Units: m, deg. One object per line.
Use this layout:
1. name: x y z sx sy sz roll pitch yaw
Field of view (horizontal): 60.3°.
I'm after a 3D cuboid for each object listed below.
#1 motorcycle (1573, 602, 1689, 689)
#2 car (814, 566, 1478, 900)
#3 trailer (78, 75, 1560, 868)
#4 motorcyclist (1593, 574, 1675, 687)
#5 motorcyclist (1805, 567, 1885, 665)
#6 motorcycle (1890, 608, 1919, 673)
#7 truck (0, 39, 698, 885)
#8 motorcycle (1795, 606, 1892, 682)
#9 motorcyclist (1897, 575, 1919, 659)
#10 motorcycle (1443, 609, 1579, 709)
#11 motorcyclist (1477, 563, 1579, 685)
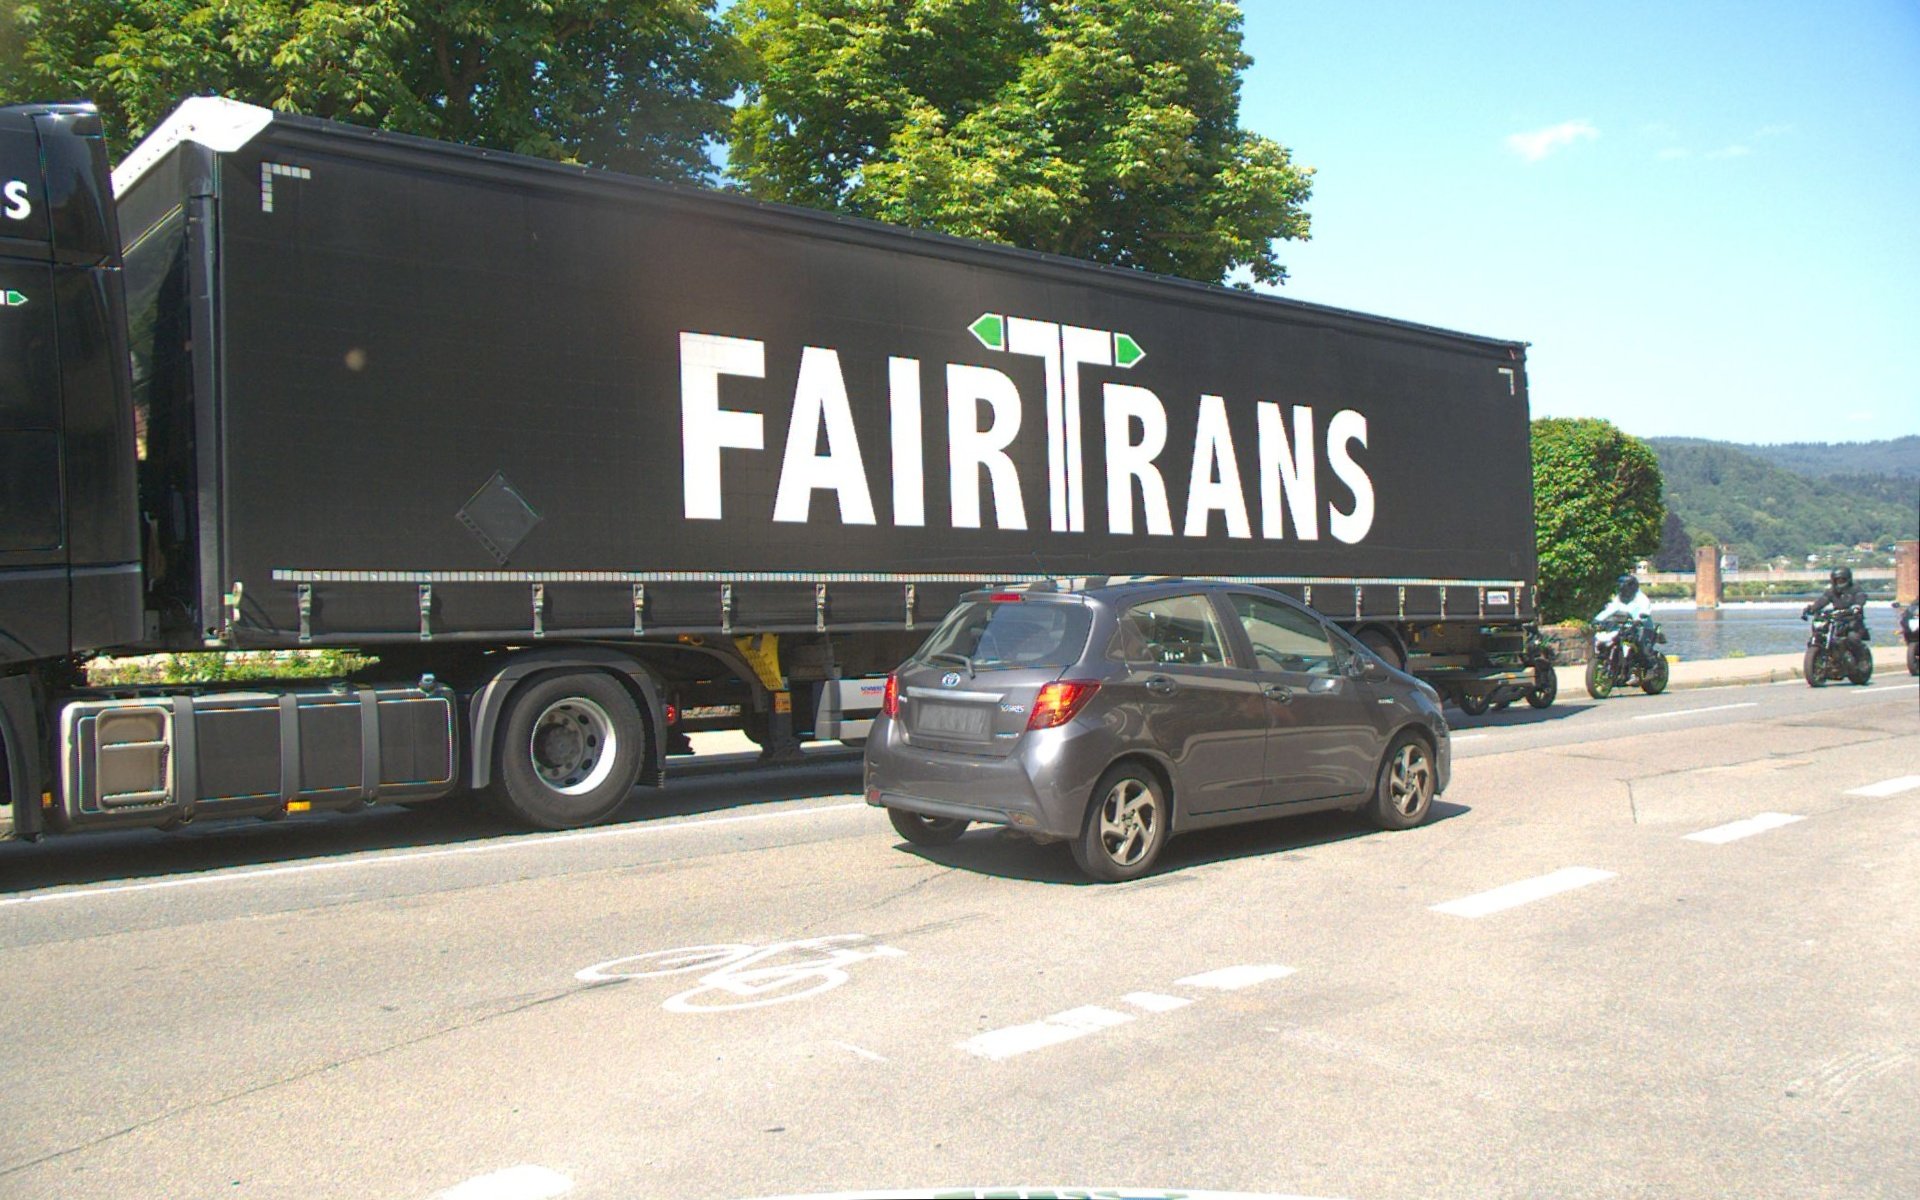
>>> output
1. motorcycle: 9.426 0.629 23.211 2.075 1.143 0.625 -1 -2 -42
2. car: 1.204 0.601 9.513 3.849 1.525 1.701 -1 0 -43
3. trailer: 0.290 -0.728 14.260 13.648 4.176 2.800 -1 -2 -41
4. motorcyclist: 9.484 0.421 23.264 0.983 1.551 0.655 -1 -2 -43
5. motorcyclist: 12.829 0.231 23.982 0.793 1.390 0.777 0 -1 -41
6. motorcycle: 16.255 0.658 27.669 1.799 1.042 0.649 -1 -1 -41
7. truck: -4.852 -0.647 9.757 5.878 4.143 2.798 -1 -2 -41
8. motorcycle: 12.769 0.618 23.886 1.799 1.042 0.649 -1 -1 -41
9. motorcyclist: 16.169 0.277 27.548 0.928 1.390 0.709 -1 -1 -41
10. motorcycle: 6.842 0.714 20.480 2.075 1.143 0.625 -1 -2 -42
11. motorcyclist: 7.088 0.300 20.636 0.983 1.486 0.769 -1 -2 -41
